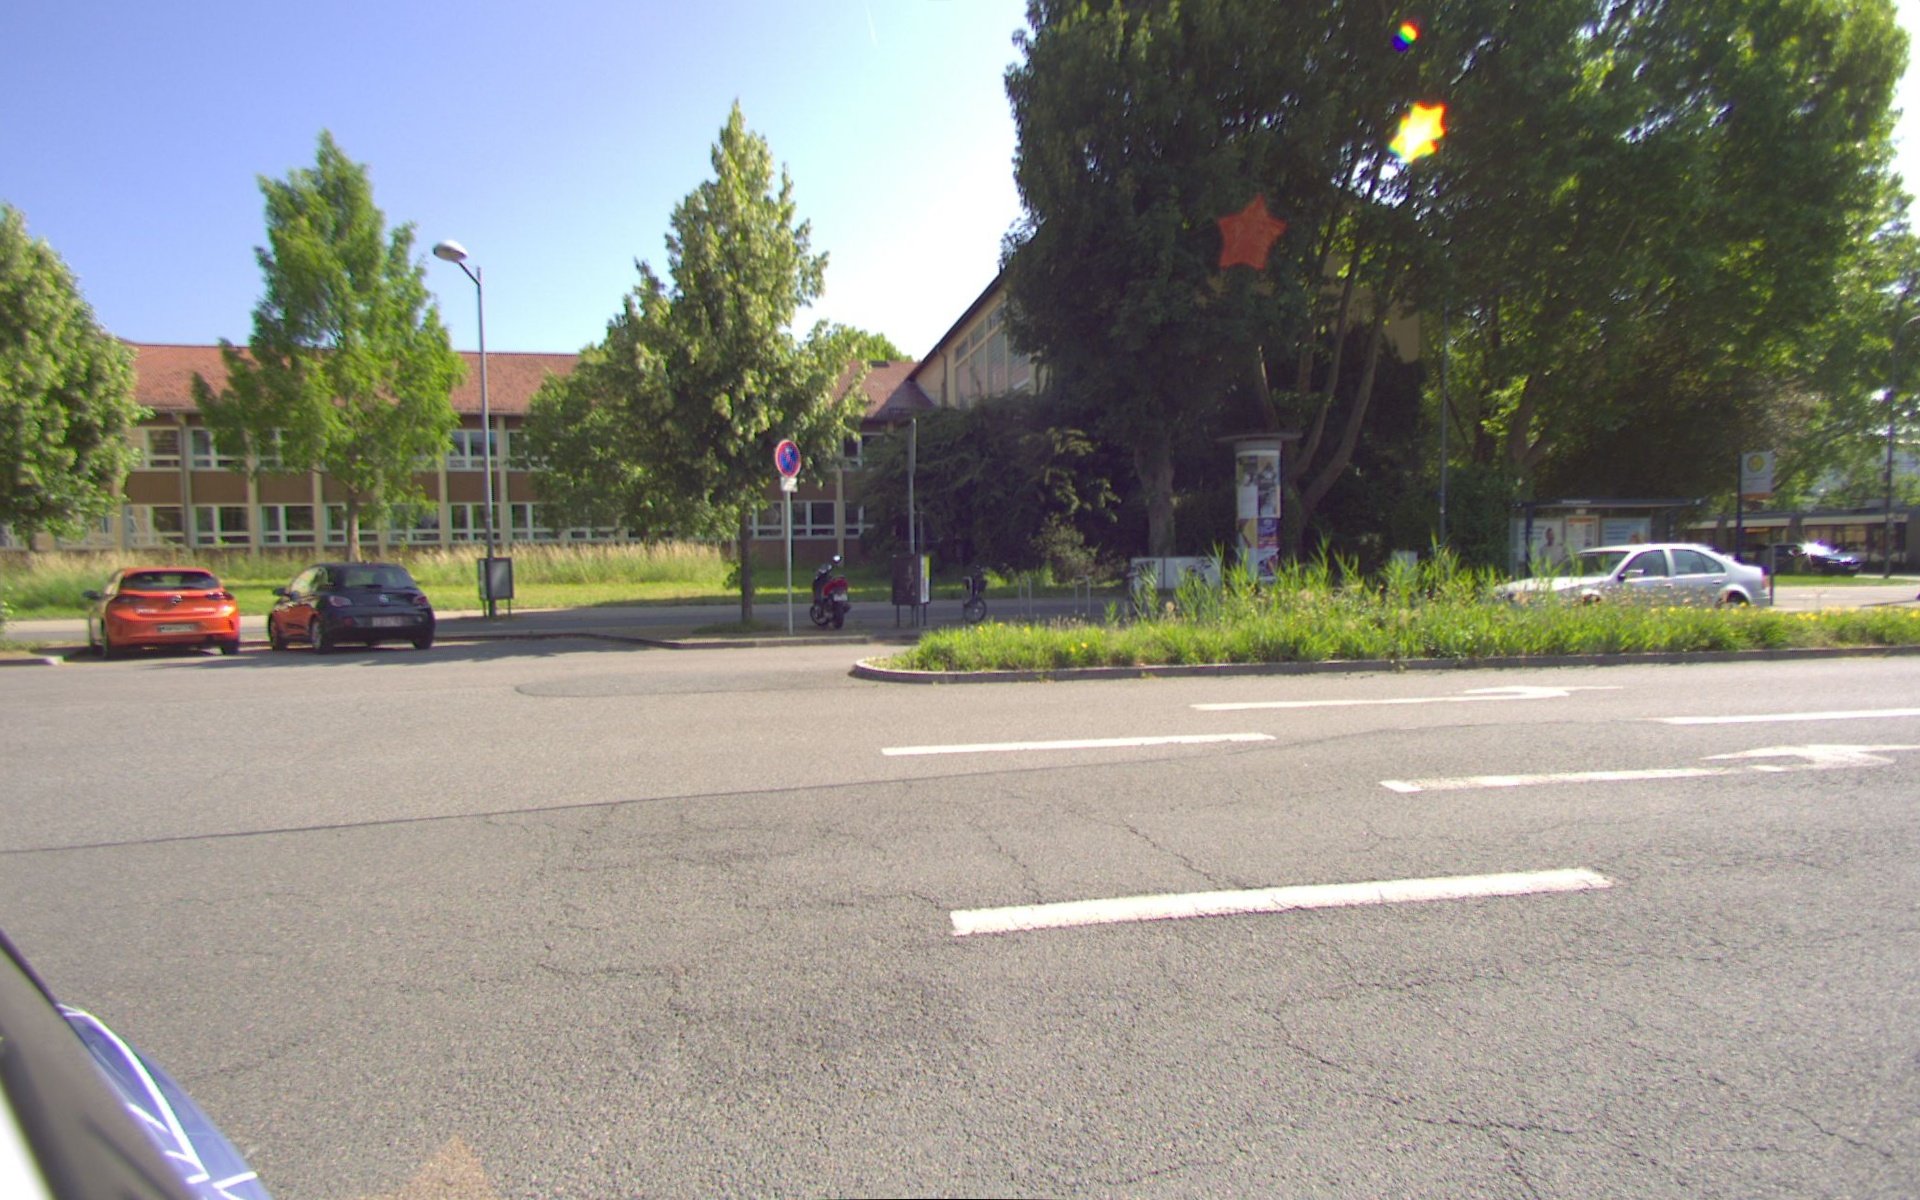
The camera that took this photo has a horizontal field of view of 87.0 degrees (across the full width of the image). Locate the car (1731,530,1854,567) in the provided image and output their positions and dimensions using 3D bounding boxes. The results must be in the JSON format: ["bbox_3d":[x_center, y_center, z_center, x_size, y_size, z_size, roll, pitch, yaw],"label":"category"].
[{"bbox_3d":[33.020,-2.030,40.269,1.611,1.387,3.519,-1,3,-12],"label":"car"}]

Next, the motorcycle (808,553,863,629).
[{"bbox_3d":[-2.285,-0.198,18.353,0.681,1.294,1.857,-2,3,-16],"label":"motorcycle"}]

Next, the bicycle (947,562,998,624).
[{"bbox_3d":[0.214,-0.161,19.468,0.682,1.100,1.855,-1,3,-8],"label":"bicycle"}]

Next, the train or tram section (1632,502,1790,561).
[{"bbox_3d":[45.496,-4.085,61.688,3.068,3.356,7.599,-1,3,-11],"label":"train or tram section"}]

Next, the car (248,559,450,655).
[{"bbox_3d":[-10.346,0.076,17.049,3.772,1.434,1.831,0,2,41],"label":"car"}]

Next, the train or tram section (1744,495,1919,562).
[{"bbox_3d":[46.934,-3.736,54.233,3.068,3.356,7.599,-1,3,-11],"label":"train or tram section"}]

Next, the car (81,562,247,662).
[{"bbox_3d":[-13.140,0.102,16.620,1.690,1.434,3.845,-3,4,-45],"label":"car"}]

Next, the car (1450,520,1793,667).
[{"bbox_3d":[10.195,-0.165,15.695,4.323,1.650,2.006,-7,4,-14],"label":"car"}]

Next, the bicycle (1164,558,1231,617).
[{"bbox_3d":[4.776,-0.284,20.508,0.682,1.130,1.855,-1,3,-8],"label":"bicycle"}]

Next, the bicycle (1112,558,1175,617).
[{"bbox_3d":[3.709,-0.282,20.571,0.682,1.114,1.855,-1,3,-8],"label":"bicycle"}]

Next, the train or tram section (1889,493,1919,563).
[{"bbox_3d":[48.388,-3.417,46.767,3.068,3.356,7.599,-1,3,-11],"label":"train or tram section"}]

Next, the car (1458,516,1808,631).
[{"bbox_3d":[10.400,-0.446,15.786,4.445,1.622,1.901,-1,2,-10],"label":"car"}]
